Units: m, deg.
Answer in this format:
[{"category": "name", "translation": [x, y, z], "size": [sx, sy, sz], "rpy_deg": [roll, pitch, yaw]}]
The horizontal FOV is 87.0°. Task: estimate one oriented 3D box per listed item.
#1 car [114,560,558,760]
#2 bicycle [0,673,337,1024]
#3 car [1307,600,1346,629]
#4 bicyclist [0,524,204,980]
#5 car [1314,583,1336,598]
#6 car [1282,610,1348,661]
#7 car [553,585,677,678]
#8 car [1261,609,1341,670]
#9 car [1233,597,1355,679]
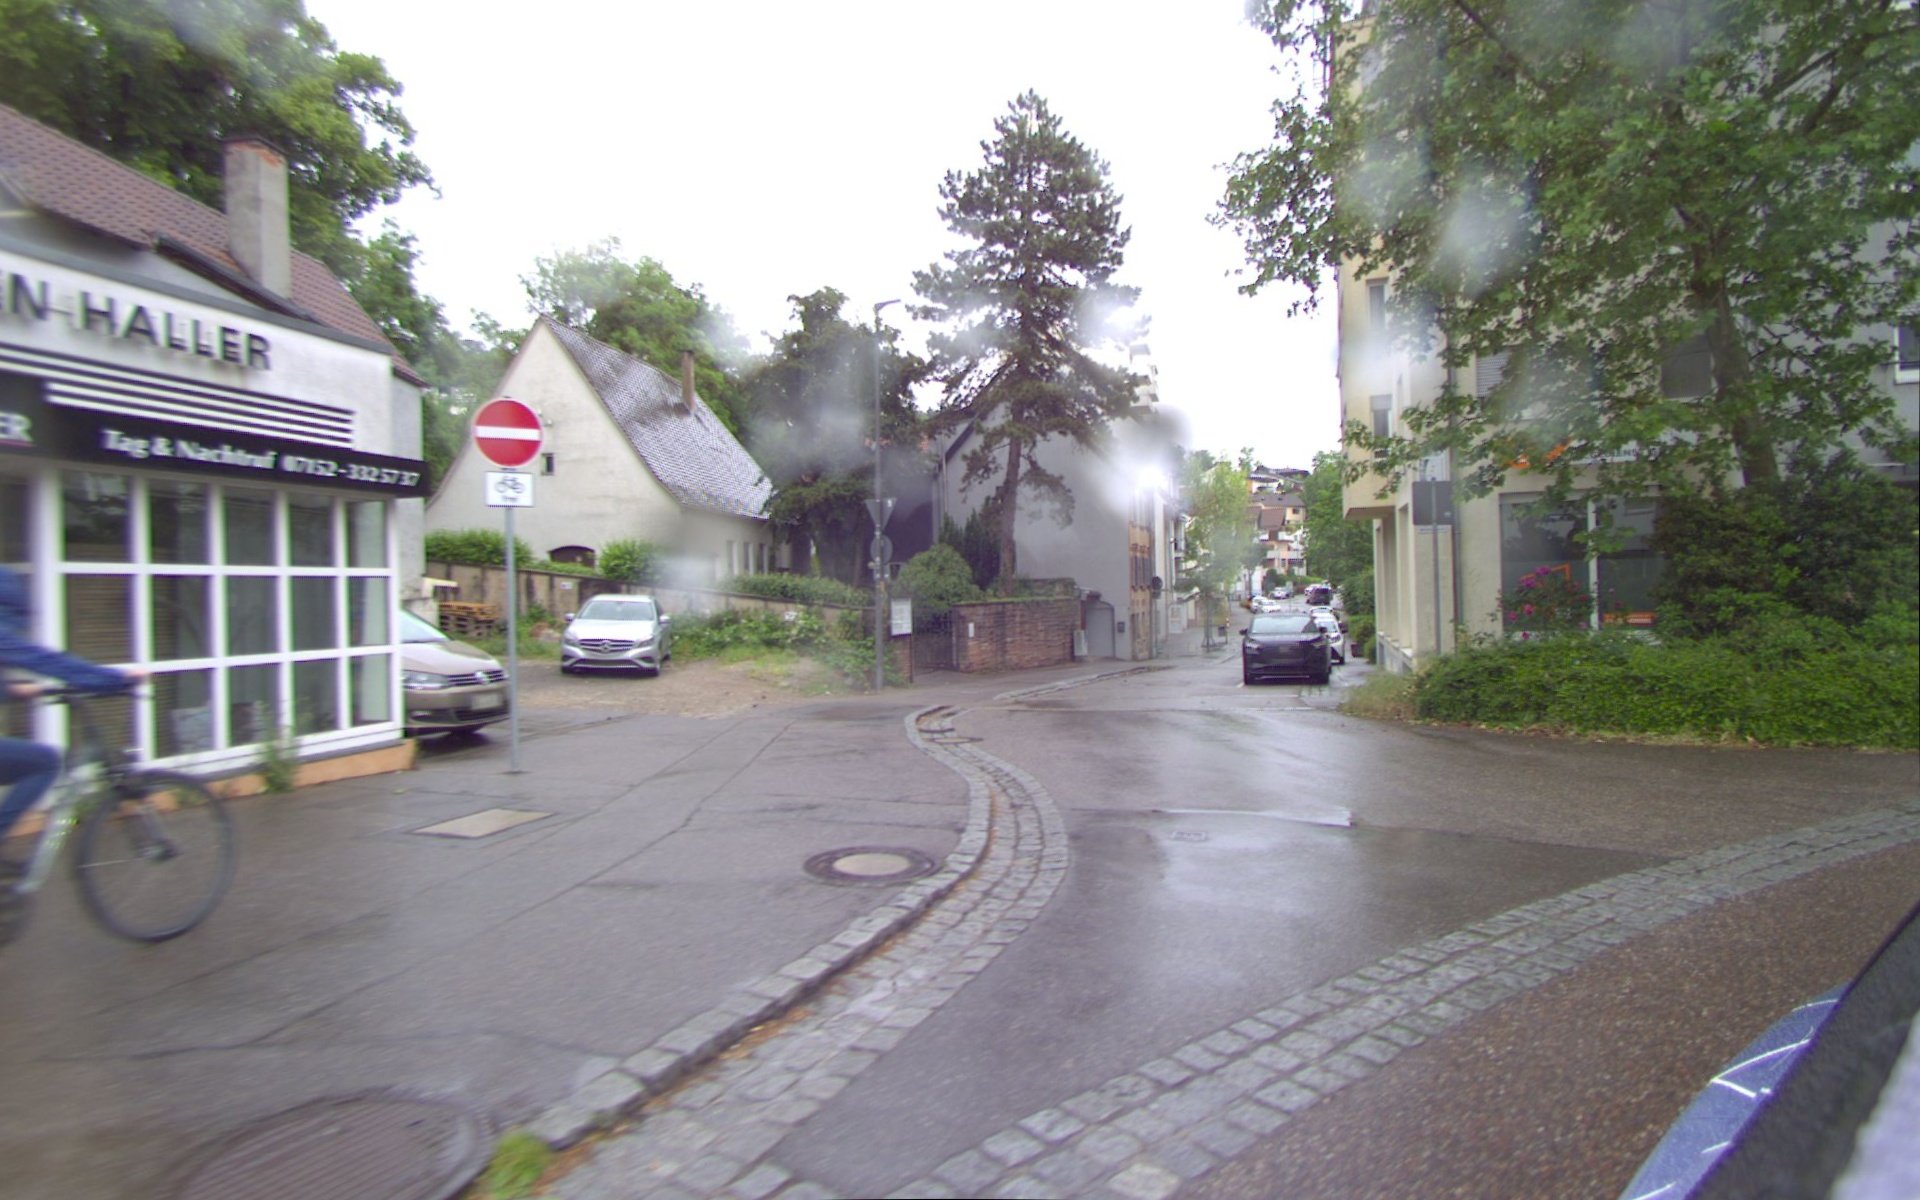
[{"category": "car", "translation": [-6.860, 0.581, 11.295], "size": [3.942, 1.794, 1.991], "rpy_deg": [3, -1, 14]}, {"category": "bicycle", "translation": [-3.472, 0.875, 3.823], "size": [0.751, 1.048, 2.075], "rpy_deg": [-1, 0, 9]}, {"category": "car", "translation": [20.346, 0.813, 56.073], "size": [1.976, 1.594, 3.970], "rpy_deg": [0, -1, 21]}, {"category": "bicyclist", "translation": [-3.537, 0.517, 3.738], "size": [0.674, 1.537, 1.028], "rpy_deg": [-1, -1, 8]}, {"category": "car", "translation": [40.356, -1.009, 111.875], "size": [1.972, 1.593, 3.979], "rpy_deg": [0, -1, 16]}, {"category": "car", "translation": [12.020, 1.168, 34.105], "size": [1.976, 1.594, 3.970], "rpy_deg": [0, -1, 21]}, {"category": "car", "translation": [-6.597, 0.526, 19.739], "size": [1.795, 1.492, 4.009], "rpy_deg": [1, 2, -12]}, {"category": "car", "translation": [9.714, 1.064, 28.682], "size": [1.976, 1.594, 3.970], "rpy_deg": [0, -1, 21]}, {"category": "car", "translation": [7.713, 0.895, 23.137], "size": [1.981, 1.673, 3.960], "rpy_deg": [-3, -3, 28]}]
